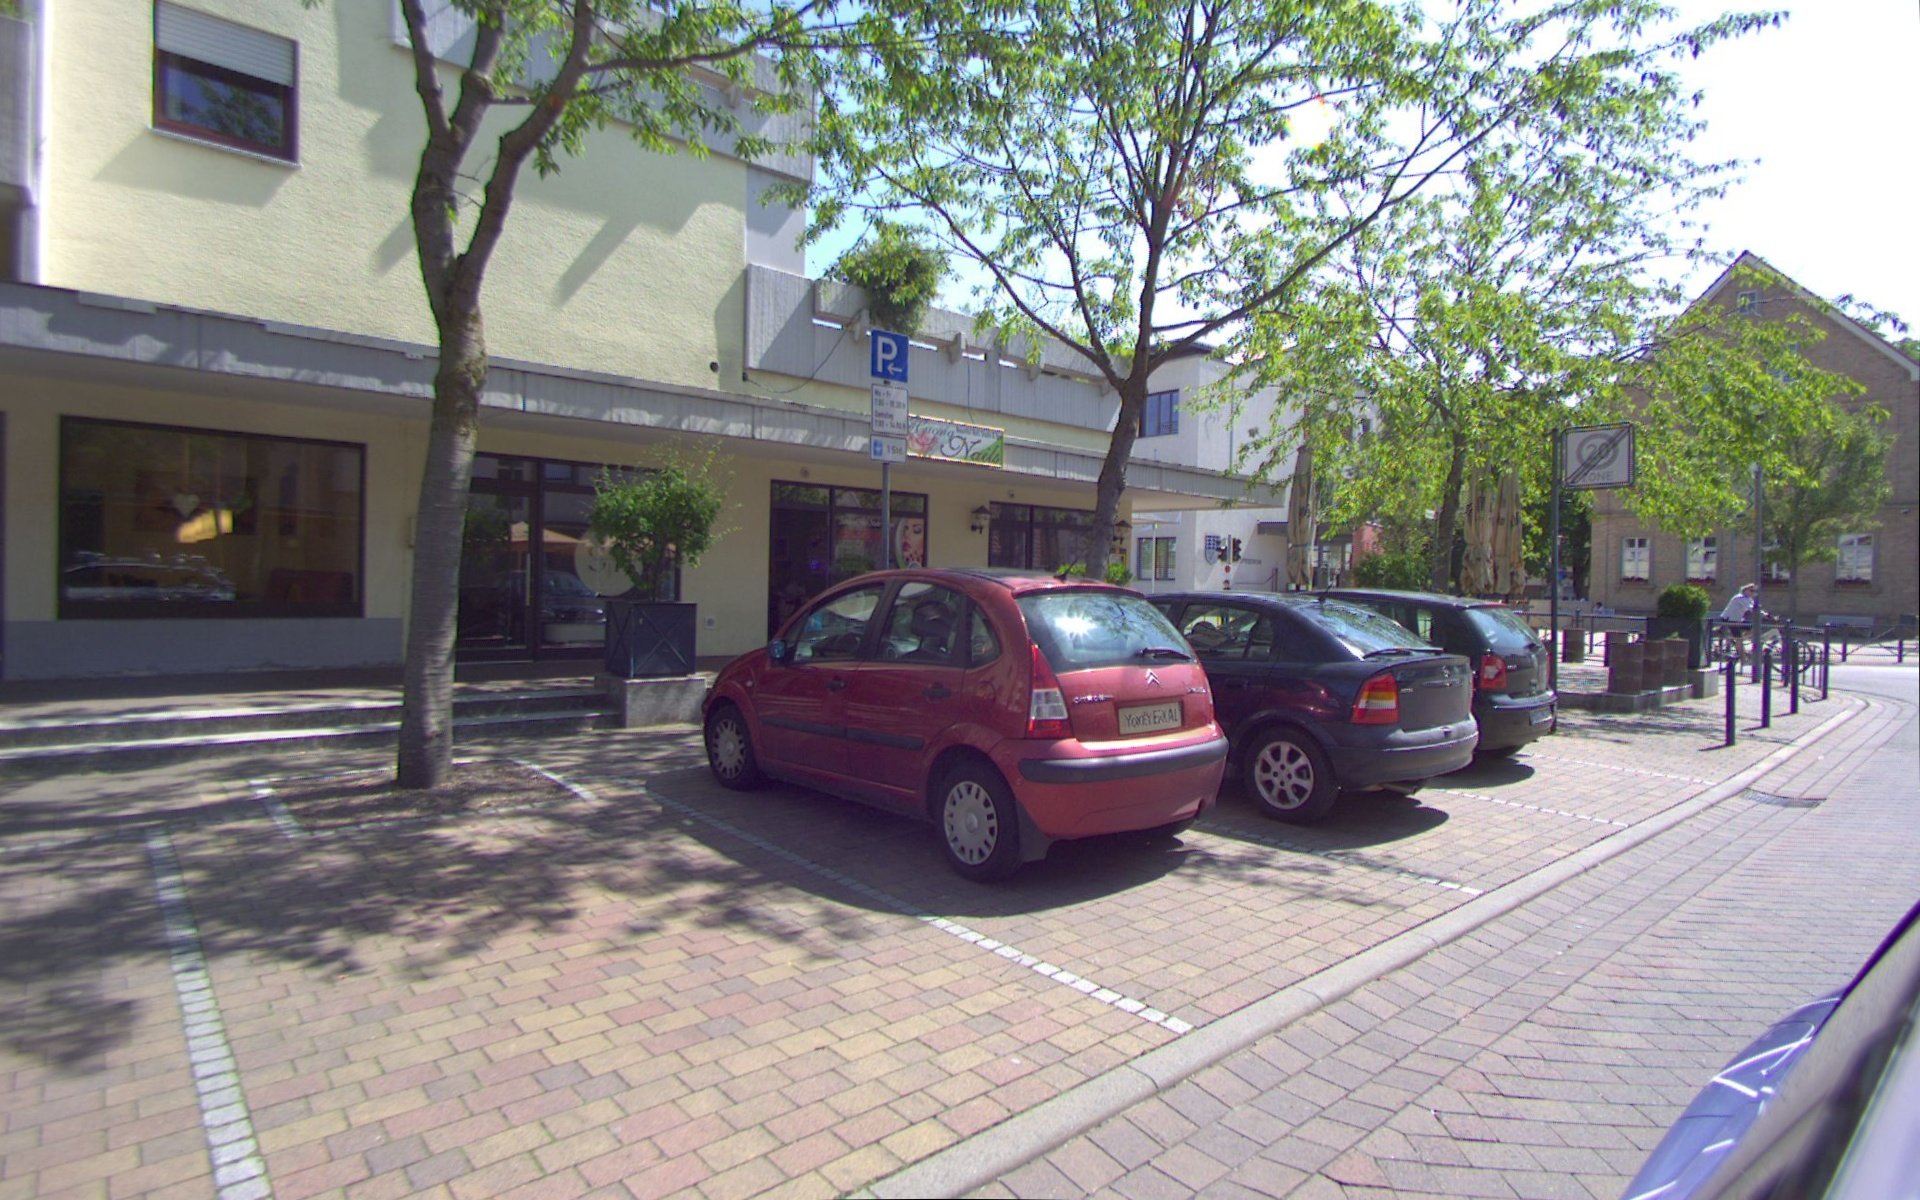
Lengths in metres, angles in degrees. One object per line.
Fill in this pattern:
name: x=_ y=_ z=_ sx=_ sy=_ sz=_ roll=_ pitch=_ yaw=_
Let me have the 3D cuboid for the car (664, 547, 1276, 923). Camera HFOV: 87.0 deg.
car: x=-0.194 y=0.506 z=6.284 sx=1.735 sy=1.553 sz=3.731 roll=1 pitch=3 yaw=-41

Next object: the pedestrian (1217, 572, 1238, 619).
pedestrian: x=9.499 y=-0.161 z=35.919 sx=0.539 sy=1.638 sz=0.558 roll=2 pitch=1 yaw=-3

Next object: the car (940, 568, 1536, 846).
car: x=1.855 y=0.563 z=7.793 sx=1.753 sy=1.449 sz=4.105 roll=1 pitch=2 yaw=-41

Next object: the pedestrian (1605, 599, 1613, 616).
pedestrian: x=28.482 y=0.335 z=44.417 sx=0.288 sy=0.741 sz=0.353 roll=2 pitch=0 yaw=36

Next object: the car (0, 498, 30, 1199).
car: x=-3.881 y=0.525 z=2.713 sx=1.914 sy=1.560 sz=4.185 roll=0 pitch=2 yaw=-44

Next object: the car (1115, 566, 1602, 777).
car: x=3.597 y=0.486 z=9.682 sx=1.742 sy=1.528 sz=3.965 roll=0 pitch=2 yaw=-42

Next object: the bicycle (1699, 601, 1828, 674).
bicycle: x=15.087 y=0.672 z=19.042 sx=0.678 sy=1.204 sz=1.797 roll=-3 pitch=4 yaw=-40

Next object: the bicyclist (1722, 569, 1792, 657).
bicyclist: x=15.048 y=0.224 z=19.113 sx=0.691 sy=1.601 sz=0.877 roll=0 pitch=2 yaw=-40
